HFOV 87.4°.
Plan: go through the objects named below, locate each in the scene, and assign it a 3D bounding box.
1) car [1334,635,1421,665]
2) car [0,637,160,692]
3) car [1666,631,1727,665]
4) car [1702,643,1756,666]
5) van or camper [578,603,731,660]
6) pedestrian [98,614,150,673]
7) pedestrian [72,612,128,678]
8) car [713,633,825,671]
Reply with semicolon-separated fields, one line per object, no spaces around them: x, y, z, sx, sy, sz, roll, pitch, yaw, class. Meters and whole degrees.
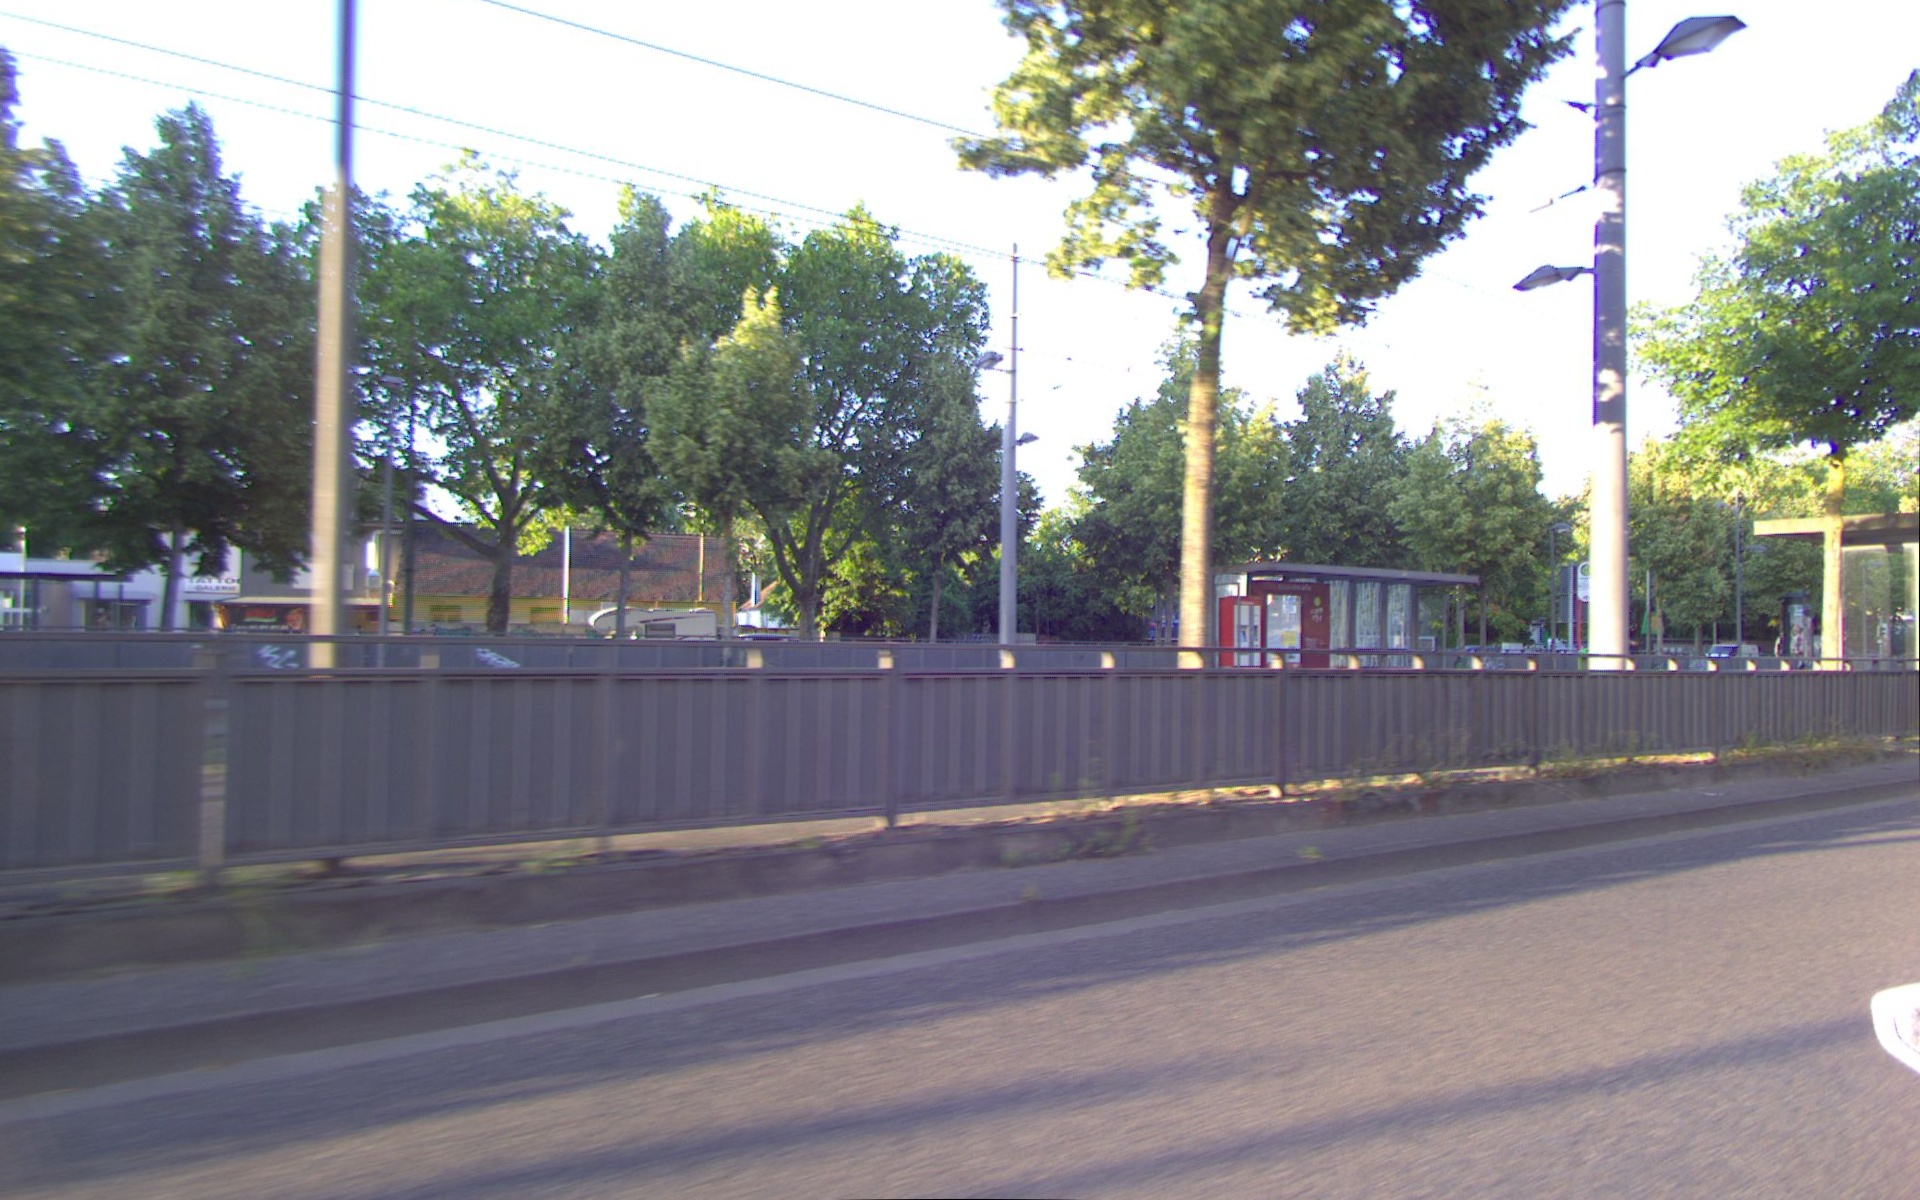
22.154;2.654;53.252;4.187;1.484;1.988;2;-3;-25;car
-27.271;1.950;30.519;4.187;1.598;1.988;2;-3;-25;car
49.050;3.182;66.909;3.951;2.213;1.768;2;-2;-29;car
63.548;4.514;83.041;4.165;1.839;1.900;2;-3;-27;car
-14.034;1.510;46.205;6.493;2.441;2.252;2;-3;-24;van or camper
-23.966;1.249;28.807;0.707;1.660;0.897;1;-2;-3;pedestrian
-23.580;1.230;27.551;0.707;1.777;0.897;1;-2;-3;pedestrian
-7.913;2.147;41.644;4.187;1.484;1.988;2;-3;-25;car
